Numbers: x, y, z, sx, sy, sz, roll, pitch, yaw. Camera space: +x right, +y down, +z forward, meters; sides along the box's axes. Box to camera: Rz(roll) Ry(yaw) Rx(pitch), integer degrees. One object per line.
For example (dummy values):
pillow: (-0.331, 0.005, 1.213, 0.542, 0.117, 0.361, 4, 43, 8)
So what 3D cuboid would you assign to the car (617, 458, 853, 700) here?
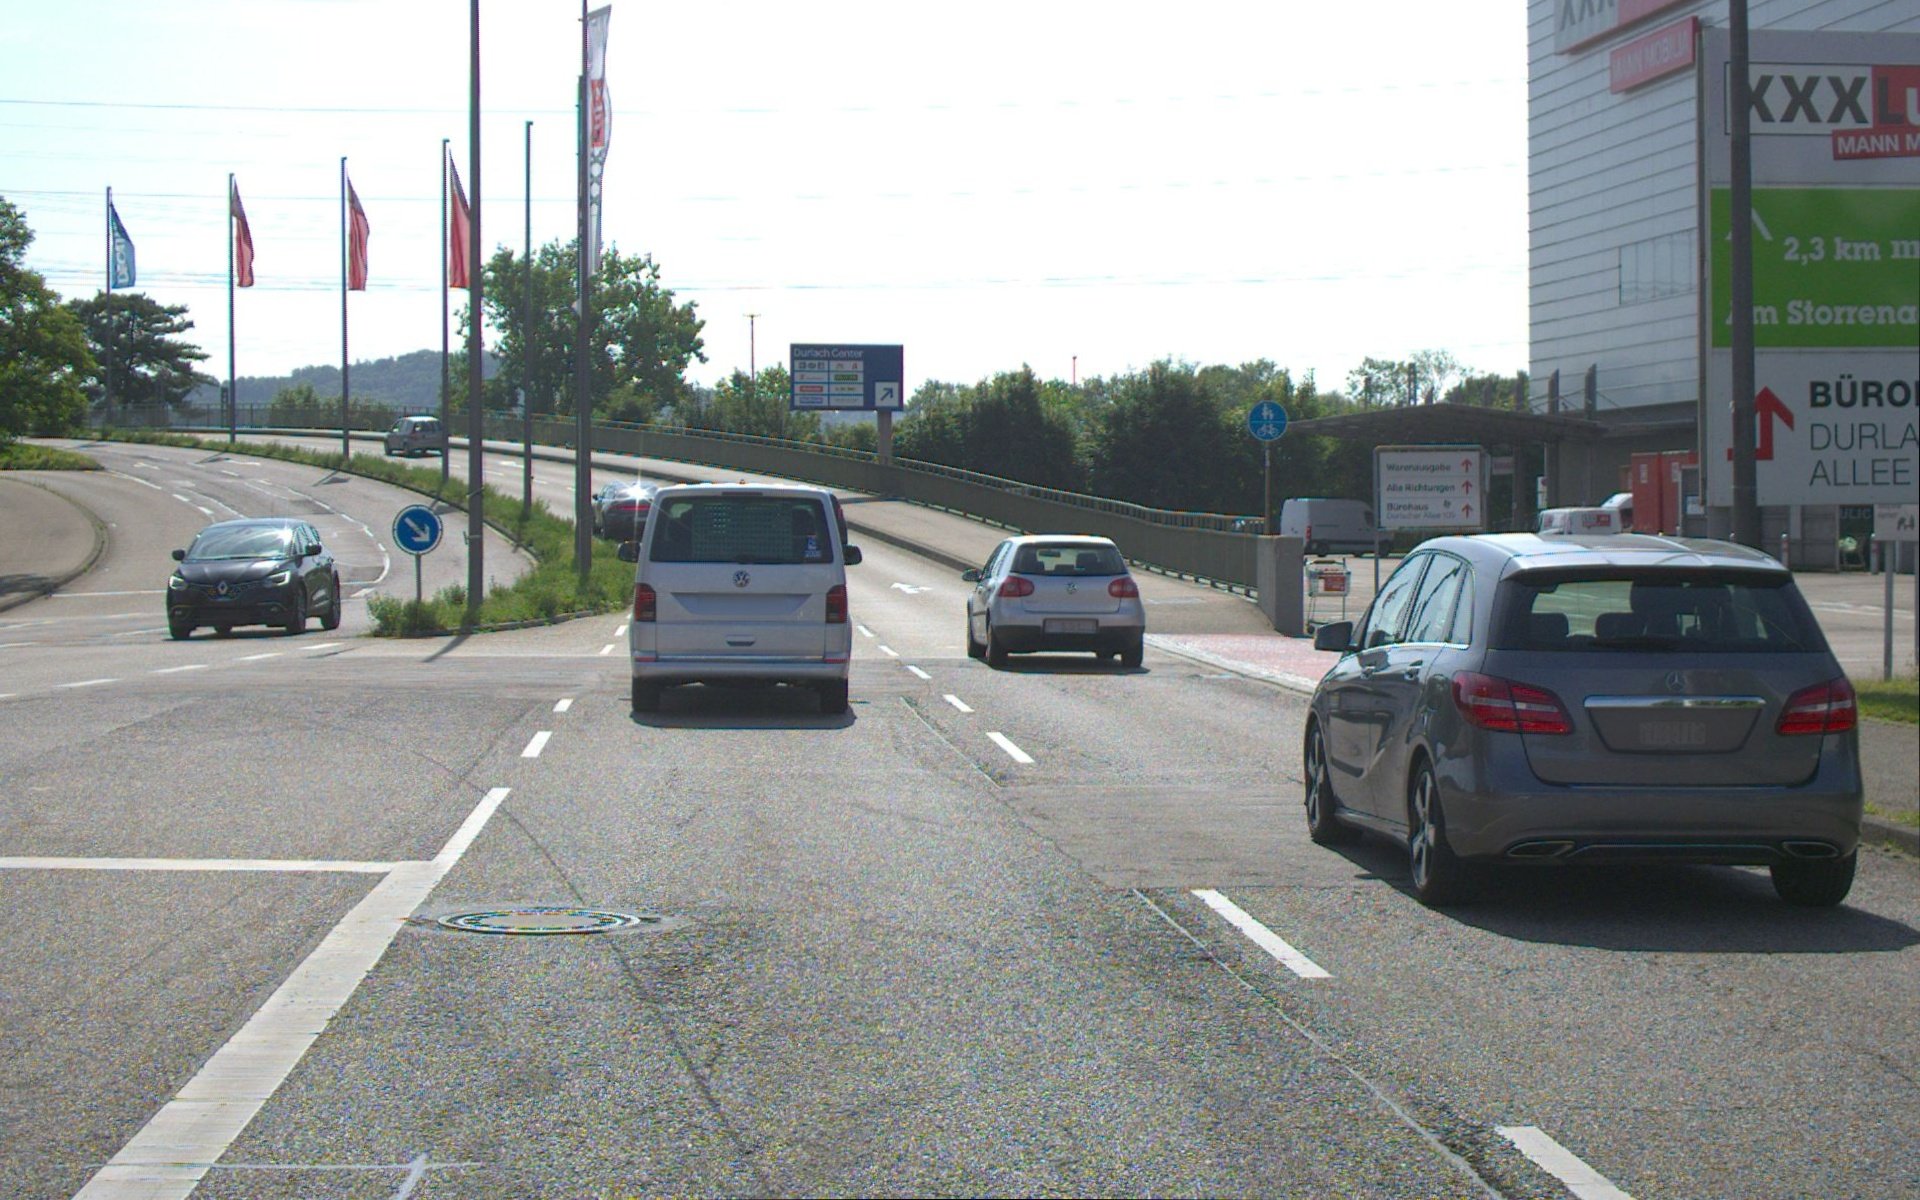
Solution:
car: (-1.954, -0.227, 30.406, 1.916, 1.968, 4.298, 1, 1, -3)

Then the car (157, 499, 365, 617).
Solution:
car: (-9.951, -0.632, 49.230, 1.916, 1.601, 4.271, 0, 2, 3)

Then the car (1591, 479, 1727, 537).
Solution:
car: (23.795, -3.127, 117.127, 4.187, 1.922, 1.777, 0, 2, -5)

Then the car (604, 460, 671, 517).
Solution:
car: (-8.720, -3.001, 92.860, 1.530, 1.474, 3.248, 1, 1, -10)

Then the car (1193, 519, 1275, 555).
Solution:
car: (11.321, -2.601, 142.151, 1.993, 1.415, 4.001, 2, 0, -17)

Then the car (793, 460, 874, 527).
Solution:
car: (-3.163, -2.656, 85.604, 1.530, 1.474, 3.598, 1, 4, -10)

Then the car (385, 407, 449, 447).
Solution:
car: (-21.821, -6.927, 138.064, 1.530, 1.475, 3.426, 1, 1, -27)

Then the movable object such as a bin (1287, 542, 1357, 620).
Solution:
movable object such as a bin: (5.265, -0.287, 50.087, 0.809, 1.109, 1.182, 0, 1, -4)

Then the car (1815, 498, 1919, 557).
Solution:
car: (24.364, -1.957, 91.902, 1.672, 1.504, 4.094, 0, 2, -5)

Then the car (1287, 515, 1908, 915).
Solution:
car: (2.669, 0.411, 15.380, 1.773, 1.533, 4.138, 1, 1, -3)

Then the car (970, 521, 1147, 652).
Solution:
car: (1.086, -0.189, 39.462, 1.666, 1.409, 3.683, 0, 1, -4)

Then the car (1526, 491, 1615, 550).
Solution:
car: (18.868, -2.480, 106.367, 1.672, 1.745, 4.094, 0, 2, -5)

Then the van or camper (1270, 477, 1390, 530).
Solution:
van or camper: (16.877, -4.395, 156.640, 5.421, 2.171, 2.105, 2, 0, -38)
